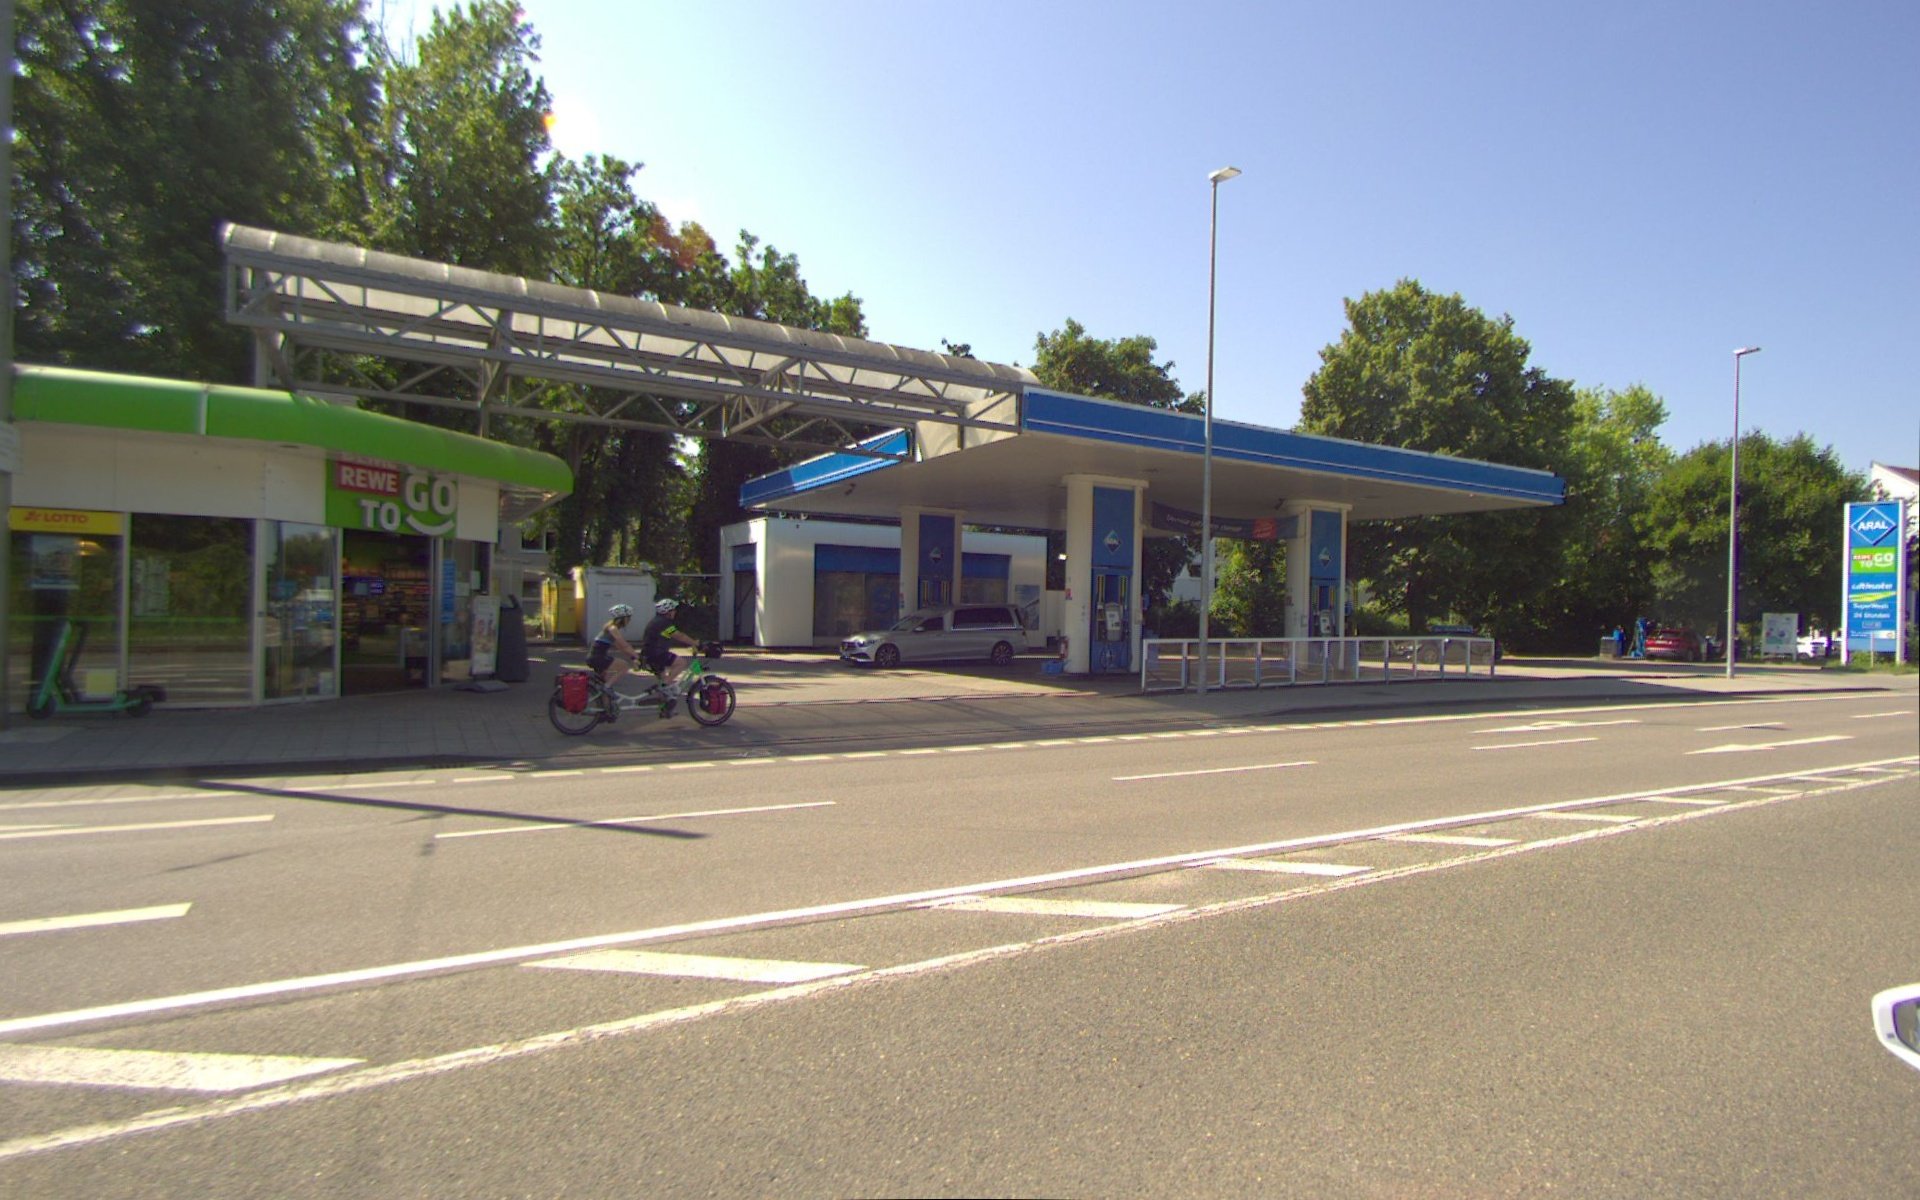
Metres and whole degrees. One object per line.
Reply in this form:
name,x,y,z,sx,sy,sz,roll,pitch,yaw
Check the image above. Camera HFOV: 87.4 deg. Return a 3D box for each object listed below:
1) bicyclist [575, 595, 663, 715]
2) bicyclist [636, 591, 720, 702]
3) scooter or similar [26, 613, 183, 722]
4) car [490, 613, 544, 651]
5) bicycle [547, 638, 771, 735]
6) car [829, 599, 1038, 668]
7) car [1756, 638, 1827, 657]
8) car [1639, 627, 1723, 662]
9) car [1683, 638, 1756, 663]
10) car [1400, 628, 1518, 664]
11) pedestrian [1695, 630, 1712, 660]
bicyclist,-4.473,0.690,13.165,0.826,1.455,0.840,0,4,-40
bicyclist,-3.846,0.604,13.691,0.825,1.455,0.840,0,1,-40
scooter or similar,-10.200,0.789,12.021,1.325,1.254,0.440,1,-1,-22
car,-17.809,1.249,40.283,1.724,1.355,3.660,0,1,-28
bicycle,-4.005,1.125,13.545,2.747,1.109,0.819,2,3,-37
car,-0.671,0.959,28.847,5.898,1.805,1.834,2,-1,-32
car,59.312,3.375,71.679,1.551,1.221,3.646,1,-1,-19
car,35.896,2.167,49.980,4.465,1.591,1.790,0,0,-31
car,50.411,3.313,66.760,1.634,1.503,3.598,1,-1,-17
car,20.997,1.927,42.370,4.165,1.363,1.803,1,-1,-8
pedestrian,36.691,2.219,49.568,0.494,1.501,0.496,1,-1,-30
